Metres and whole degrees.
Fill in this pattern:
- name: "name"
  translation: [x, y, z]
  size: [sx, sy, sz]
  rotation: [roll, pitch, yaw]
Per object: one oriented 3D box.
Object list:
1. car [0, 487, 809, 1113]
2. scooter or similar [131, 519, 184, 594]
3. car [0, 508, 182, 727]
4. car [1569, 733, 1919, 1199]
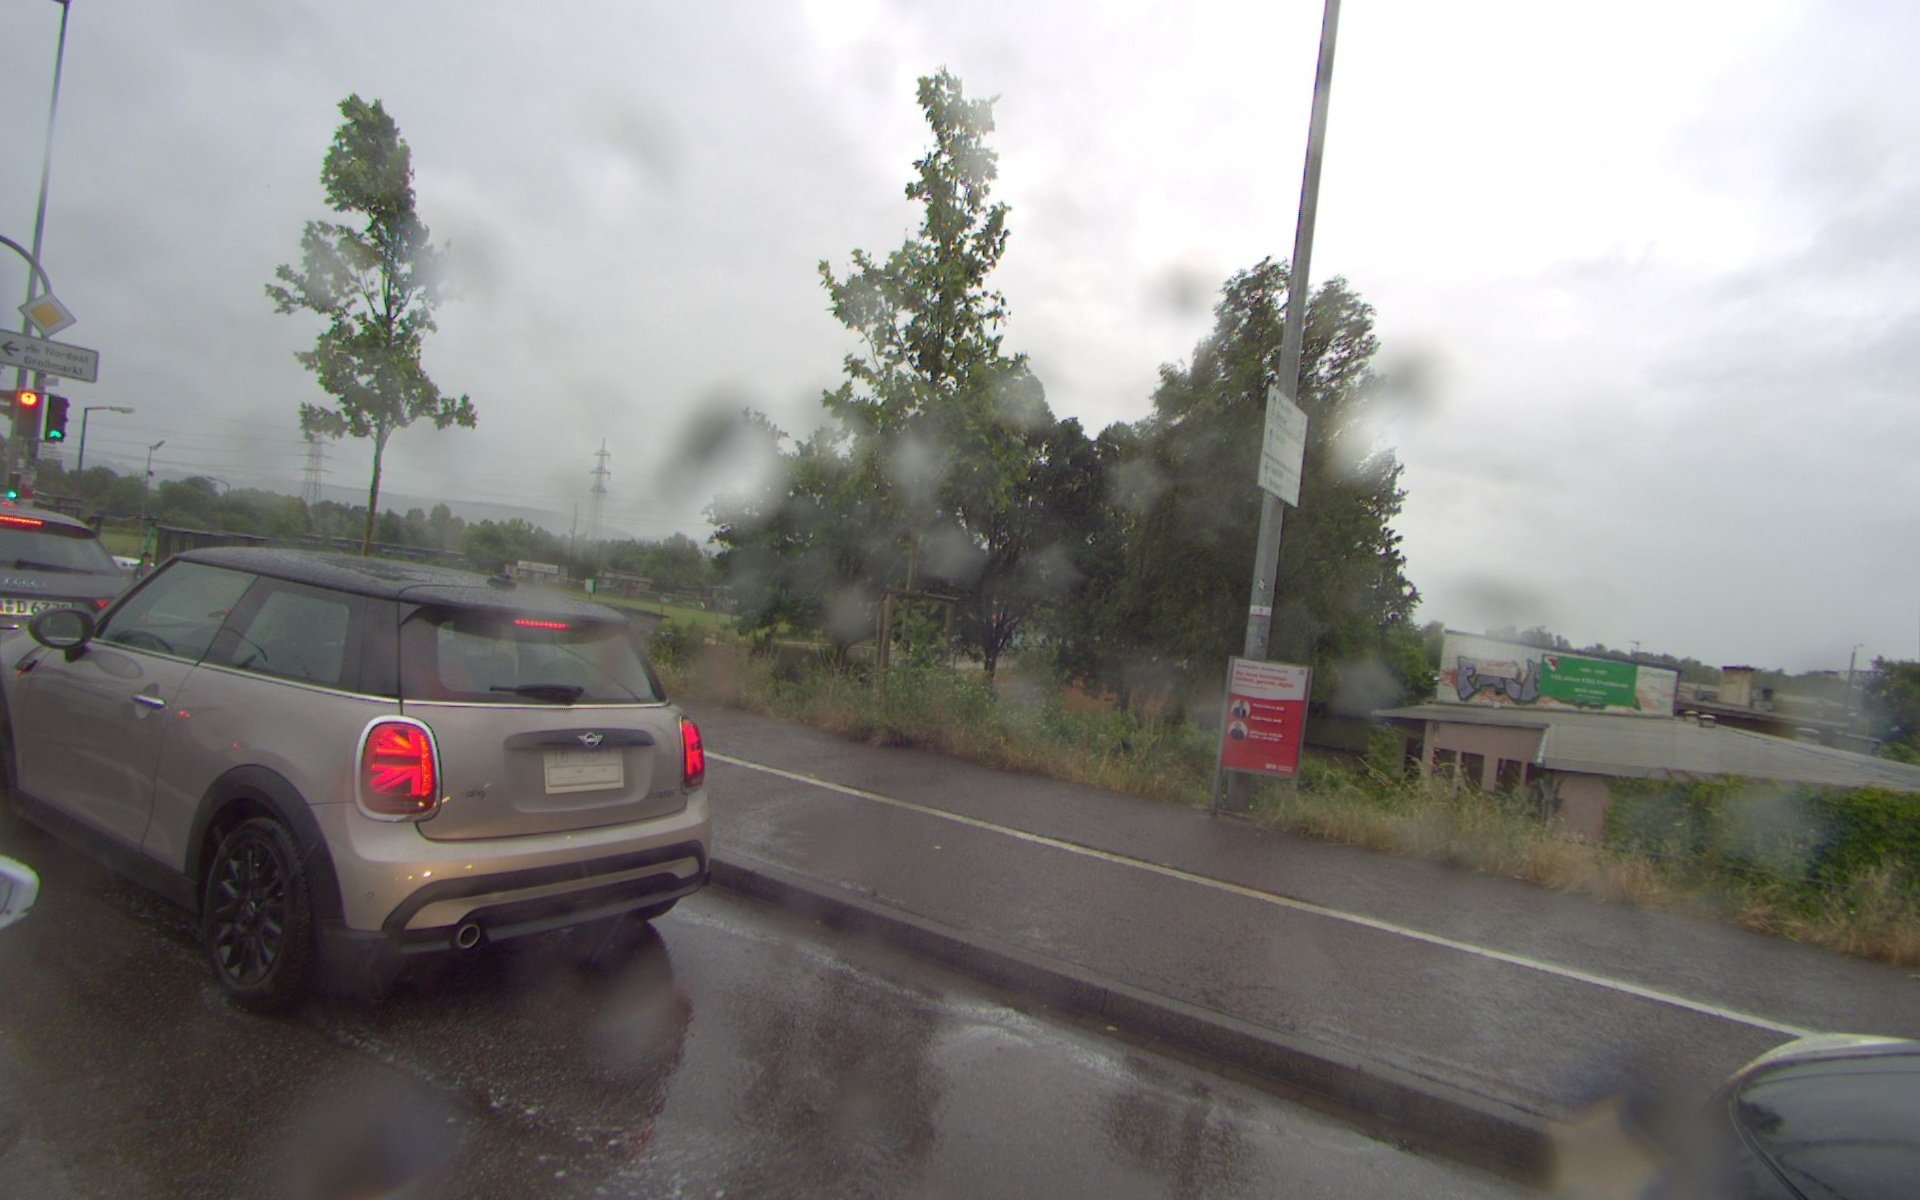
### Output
- name: "car"
  translation: [-2.658, 0.493, 4.296]
  size: [3.563, 1.525, 1.717]
  rotation: [7, -2, 31]
- name: "scooter or similar"
  translation: [-13.606, -0.739, 17.046]
  size: [1.167, 1.171, 0.246]
  rotation: [6, -1, 33]
- name: "car"
  translation: [-7.467, -0.045, 7.257]
  size: [3.563, 1.360, 1.632]
  rotation: [6, -2, 31]
- name: "car"
  translation: [2.790, 1.178, 1.037]
  size: [3.563, 1.445, 1.632]
  rotation: [7, -1, 31]
